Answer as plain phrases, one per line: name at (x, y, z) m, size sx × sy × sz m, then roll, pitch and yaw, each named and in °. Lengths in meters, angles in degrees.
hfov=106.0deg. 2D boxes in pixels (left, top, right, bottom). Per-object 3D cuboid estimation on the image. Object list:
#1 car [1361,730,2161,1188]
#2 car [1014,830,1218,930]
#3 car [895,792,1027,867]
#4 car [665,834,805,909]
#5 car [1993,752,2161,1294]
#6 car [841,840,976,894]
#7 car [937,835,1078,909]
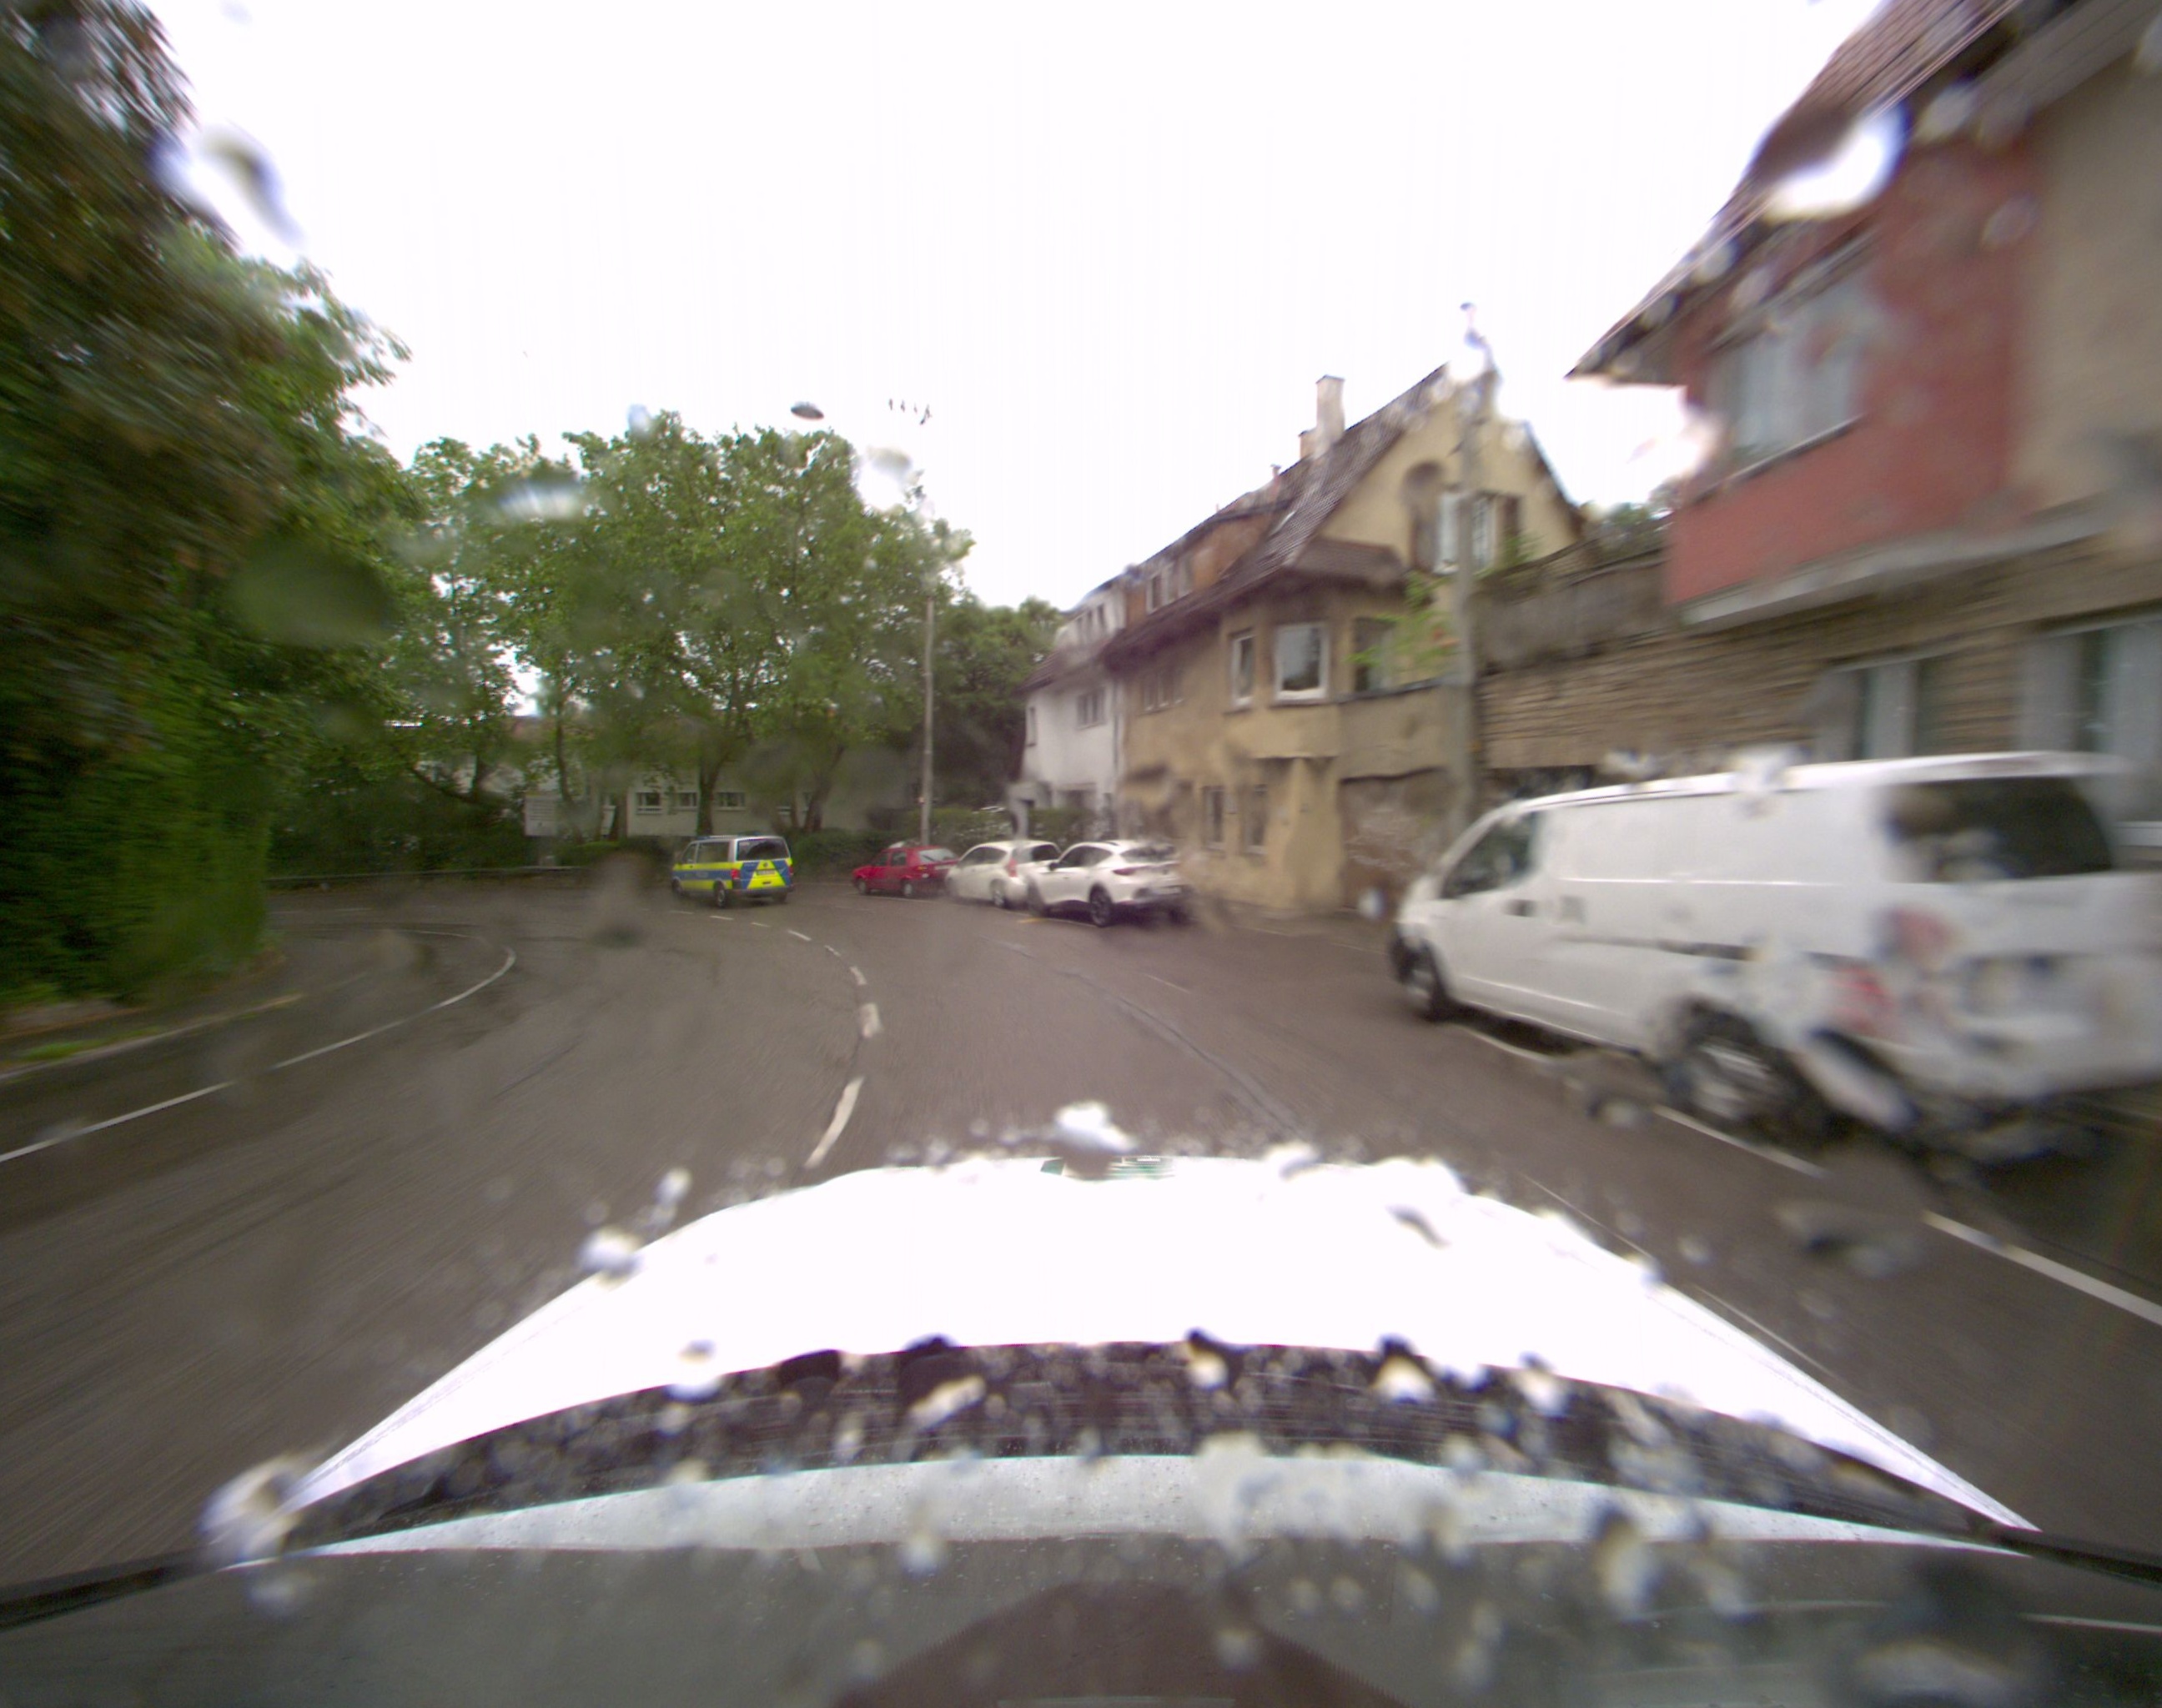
car at (3.783, 0.374, 5.541) m, size 1.704 × 1.791 × 4.314 m, roll -4°, pitch 1°, yaw -8°
car at (0.491, 0.431, 15.631) m, size 1.925 × 1.538 × 4.375 m, roll -4°, pitch 1°, yaw -27°
car at (-4.503, -0.966, 30.400) m, size 4.408 × 1.841 × 1.989 m, roll -13°, pitch 6°, yaw -16°
car at (-10.223, 0.451, 23.895) m, size 4.513 × 1.893 × 2.013 m, roll 0°, pitch 4°, yaw 43°
car at (4.032, 0.505, 0.642) m, size 1.611 × 1.604 × 4.408 m, roll -2°, pitch 1°, yaw -2°
car at (-5.094, 0.400, 23.758) m, size 4.143 × 1.367 × 1.797 m, roll -2°, pitch 2°, yaw 45°
car at (-1.878, 0.378, 19.793) m, size 1.778 × 1.514 × 3.784 m, roll -4°, pitch 2°, yaw -33°
